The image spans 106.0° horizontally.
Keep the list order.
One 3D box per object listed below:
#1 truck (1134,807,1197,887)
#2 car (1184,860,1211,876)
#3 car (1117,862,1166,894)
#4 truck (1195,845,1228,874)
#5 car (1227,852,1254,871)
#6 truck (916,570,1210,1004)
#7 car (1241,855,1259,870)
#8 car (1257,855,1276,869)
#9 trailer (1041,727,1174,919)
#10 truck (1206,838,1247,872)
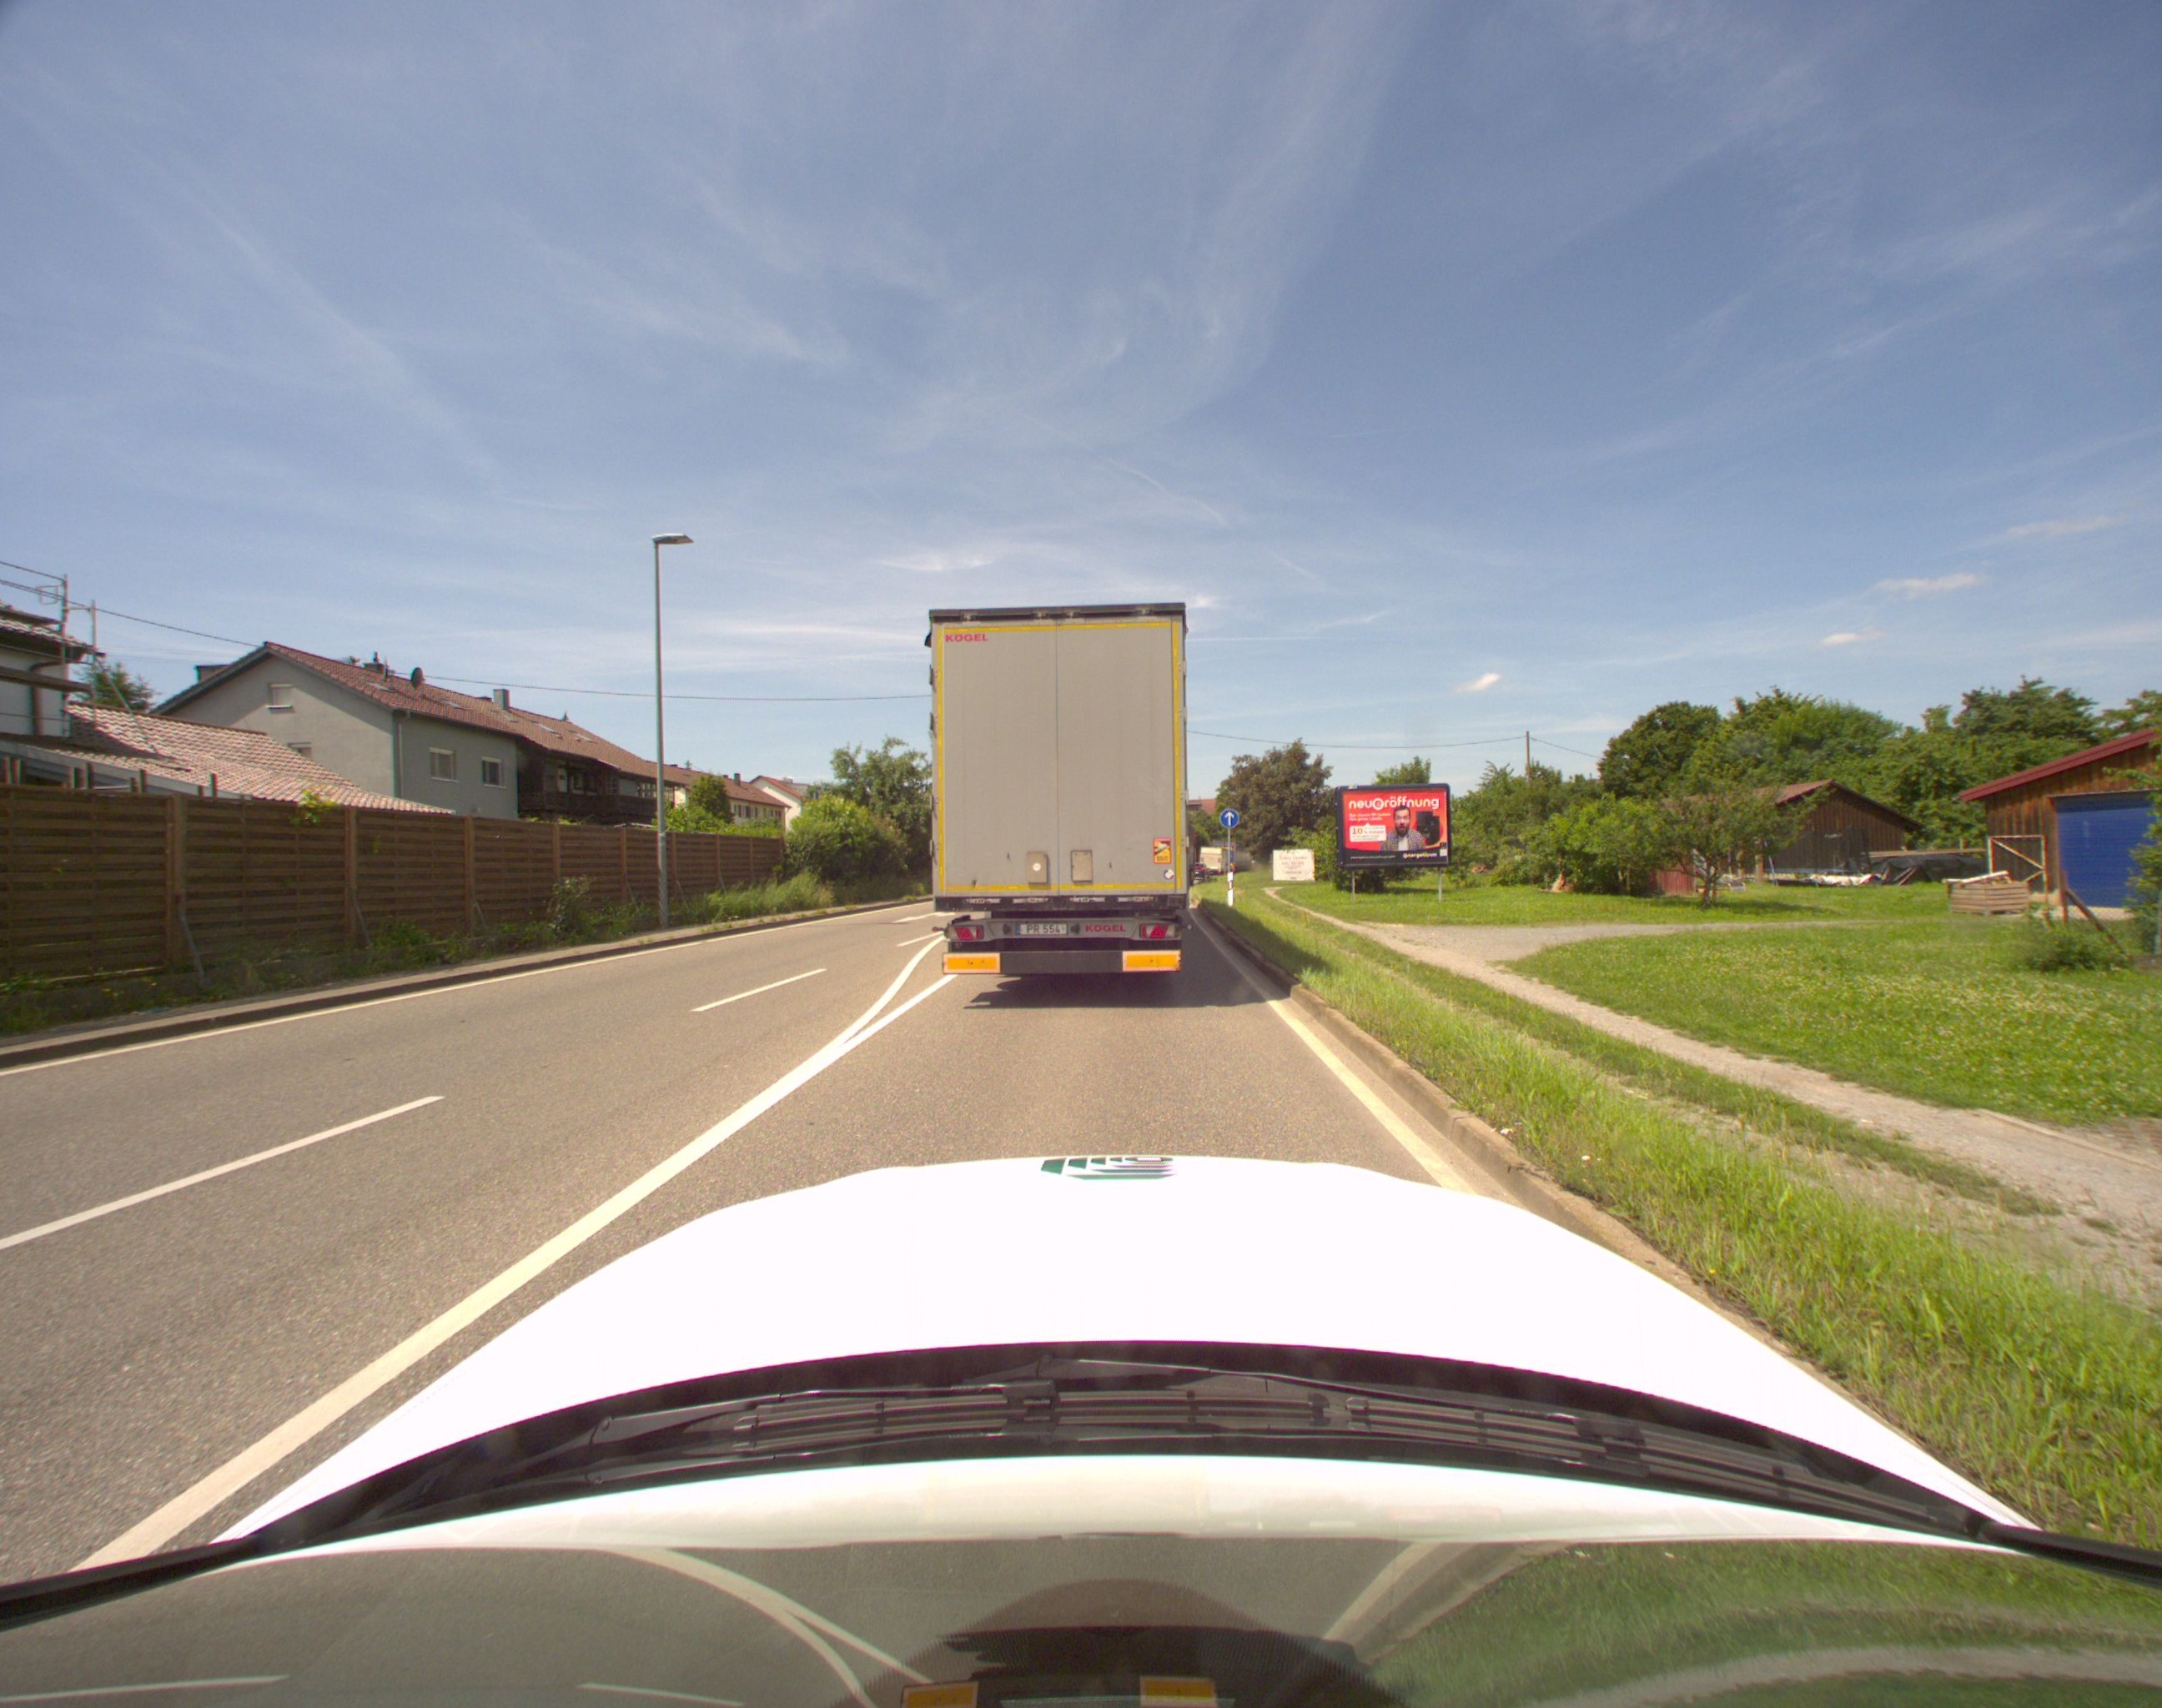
[{"bbox_3d":[5.710,-0.229,52.017,2.743,4.289,16.460,0,-1,10],"label":"truck"},{"bbox_3d":[10.543,1.242,73.607,1.979,1.376,4.015,0,-1,14],"label":"car"},{"bbox_3d":[2.712,1.034,35.873,1.808,1.346,3.857,0,-1,9],"label":"car"},{"bbox_3d":[13.282,0.625,82.483,2.524,2.803,6.057,-1,-1,16],"label":"truck"},{"bbox_3d":[20.010,0.949,101.885,2.512,2.277,6.410,0,0,18],"label":"car"},{"bbox_3d":[0.246,-0.637,13.522,2.809,4.127,11.457,0,0,4],"label":"truck"},{"bbox_3d":[22.961,1.204,110.367,1.978,2.014,4.018,-1,-1,18],"label":"car"},{"bbox_3d":[26.999,1.222,118.417,1.976,2.014,4.021,-1,-1,22],"label":"car"},{"bbox_3d":[0.808,-0.669,20.931,2.812,4.111,6.551,-1,0,4],"label":"trailer"},{"bbox_3d":[16.689,0.094,92.816,3.406,3.604,9.396,-1,0,17],"label":"truck"}]
